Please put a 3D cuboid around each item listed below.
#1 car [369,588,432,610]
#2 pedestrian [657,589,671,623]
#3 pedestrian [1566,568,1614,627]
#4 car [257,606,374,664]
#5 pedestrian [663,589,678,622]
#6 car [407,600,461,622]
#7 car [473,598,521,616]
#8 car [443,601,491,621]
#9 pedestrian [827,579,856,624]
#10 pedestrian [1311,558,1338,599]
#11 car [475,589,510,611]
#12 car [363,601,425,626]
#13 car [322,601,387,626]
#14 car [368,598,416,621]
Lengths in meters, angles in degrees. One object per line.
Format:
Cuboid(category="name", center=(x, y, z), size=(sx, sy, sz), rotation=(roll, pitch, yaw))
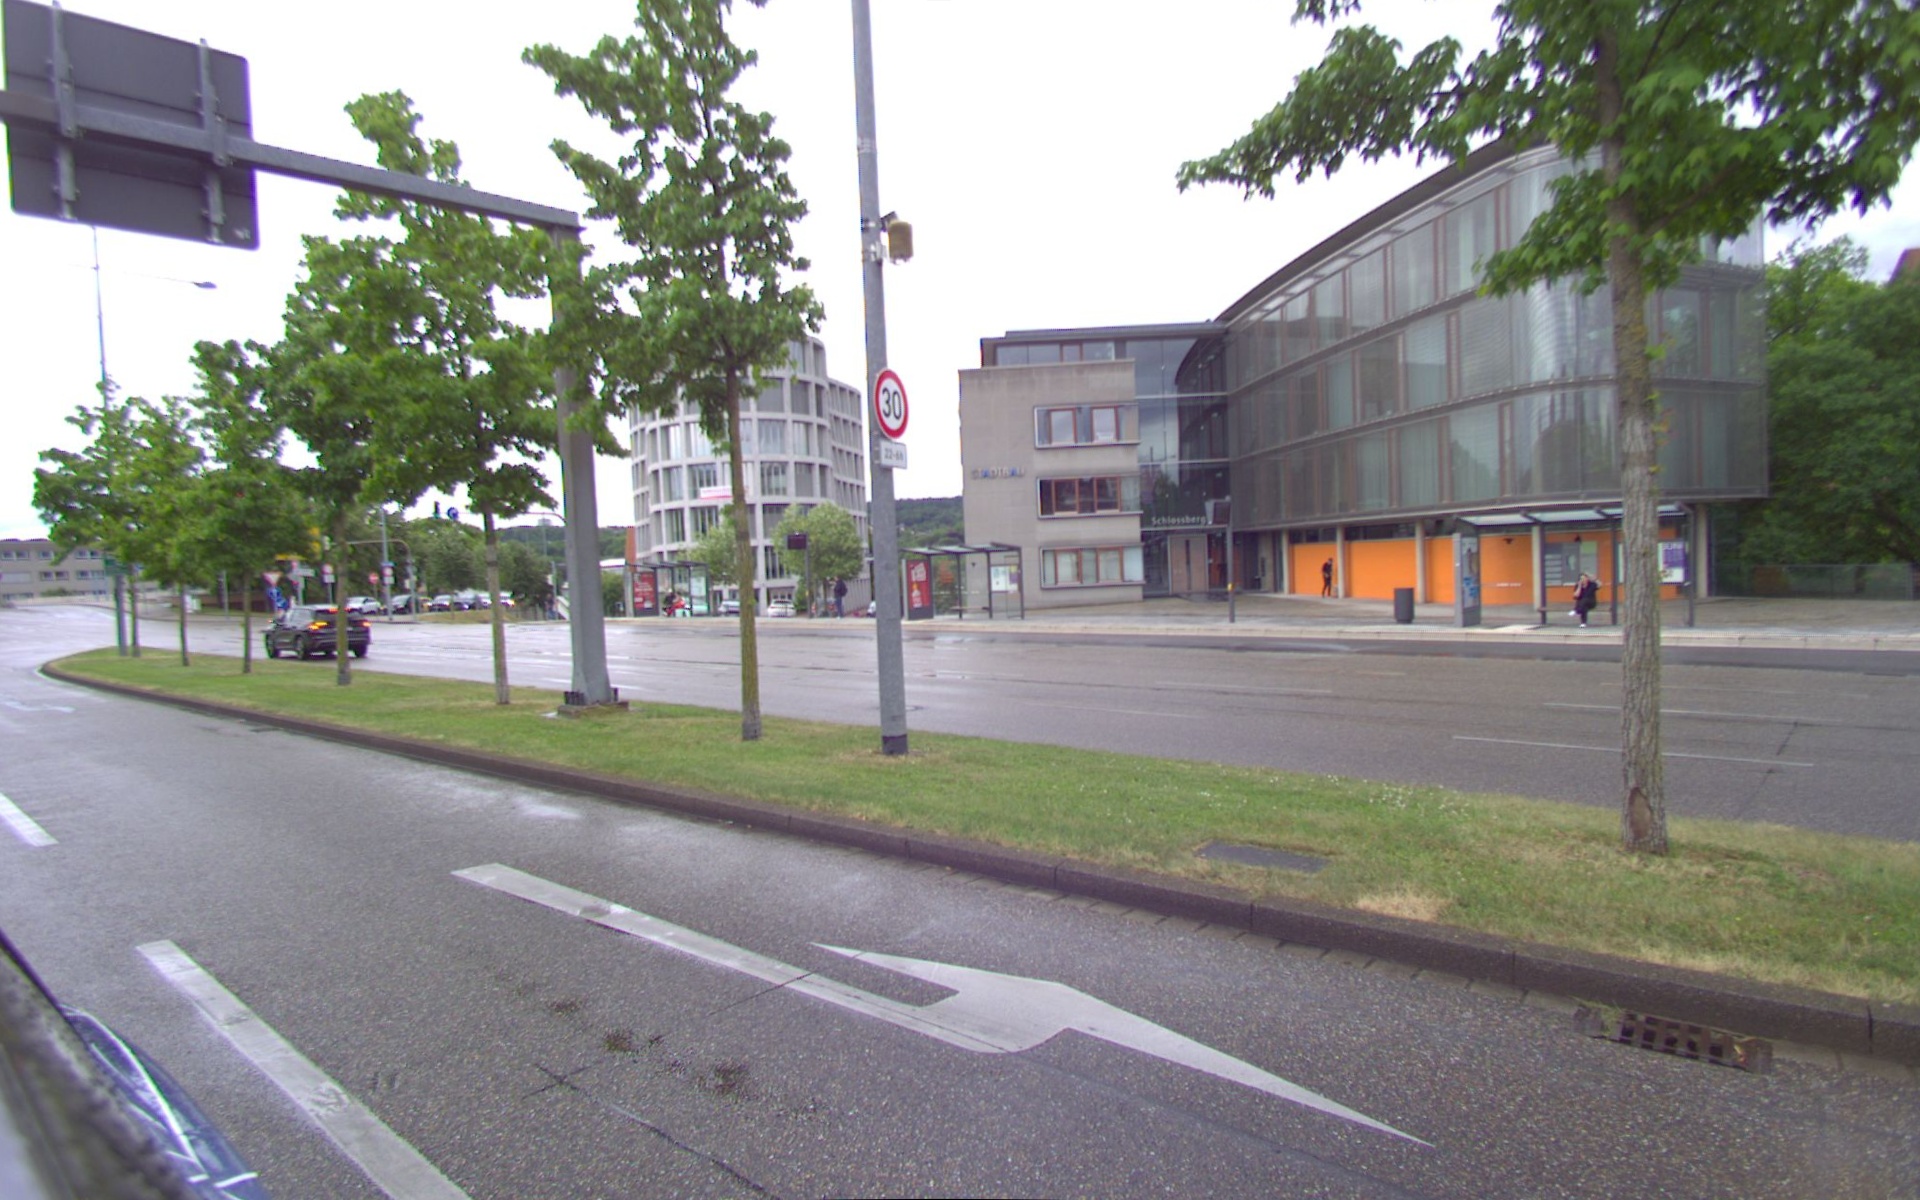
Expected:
Cuboid(category="car", center=(-55.831, -0.091, 100.985), size=(4.963, 2.029, 2.311), rotation=(-1, 0, 0))
Cuboid(category="pedestrian", center=(-14.716, 0.302, 50.332), size=(0.501, 1.647, 0.497), rotation=(-1, 0, 41))
Cuboid(category="pedestrian", center=(14.619, -0.050, 23.476), size=(0.790, 1.334, 0.793), rotation=(-1, 0, 42))
Cuboid(category="car", center=(-20.296, 1.071, 31.800), size=(4.597, 1.652, 1.803), rotation=(-1, 1, 41))
Cuboid(category="pedestrian", center=(-14.545, 0.296, 50.900), size=(0.535, 1.647, 0.514), rotation=(-1, 0, 41))
Cuboid(category="car", center=(-44.319, 0.891, 85.380), size=(2.164, 1.725, 4.919), rotation=(-1, 0, -3))
Cuboid(category="car", center=(-48.278, 0.761, 105.535), size=(4.897, 1.725, 2.174), rotation=(-1, 0, 30))
Cuboid(category="car", center=(-45.232, 0.999, 92.919), size=(2.164, 1.725, 4.920), rotation=(-1, 0, -3))
Cuboid(category="pedestrian", center=(-4.881, 0.059, 41.655), size=(0.964, 1.773, 0.783), rotation=(-1, 0, 12))
Cuboid(category="pedestrian", center=(15.099, -0.873, 41.900), size=(0.697, 1.666, 0.852), rotation=(-1, 0, -6))
Cuboid(category="car", center=(-46.161, 0.027, 99.990), size=(1.969, 2.029, 4.005), rotation=(-1, 0, -6))
Cuboid(category="car", center=(-43.317, 1.012, 77.606), size=(2.164, 1.725, 4.919), rotation=(-1, 0, -3))
Cuboid(category="car", center=(-46.524, 1.001, 77.862), size=(2.164, 1.725, 4.919), rotation=(-1, 0, -2))
Cuboid(category="car", center=(-47.924, 0.831, 85.501), size=(1.971, 1.807, 4.002), rotation=(-1, -1, -3))
